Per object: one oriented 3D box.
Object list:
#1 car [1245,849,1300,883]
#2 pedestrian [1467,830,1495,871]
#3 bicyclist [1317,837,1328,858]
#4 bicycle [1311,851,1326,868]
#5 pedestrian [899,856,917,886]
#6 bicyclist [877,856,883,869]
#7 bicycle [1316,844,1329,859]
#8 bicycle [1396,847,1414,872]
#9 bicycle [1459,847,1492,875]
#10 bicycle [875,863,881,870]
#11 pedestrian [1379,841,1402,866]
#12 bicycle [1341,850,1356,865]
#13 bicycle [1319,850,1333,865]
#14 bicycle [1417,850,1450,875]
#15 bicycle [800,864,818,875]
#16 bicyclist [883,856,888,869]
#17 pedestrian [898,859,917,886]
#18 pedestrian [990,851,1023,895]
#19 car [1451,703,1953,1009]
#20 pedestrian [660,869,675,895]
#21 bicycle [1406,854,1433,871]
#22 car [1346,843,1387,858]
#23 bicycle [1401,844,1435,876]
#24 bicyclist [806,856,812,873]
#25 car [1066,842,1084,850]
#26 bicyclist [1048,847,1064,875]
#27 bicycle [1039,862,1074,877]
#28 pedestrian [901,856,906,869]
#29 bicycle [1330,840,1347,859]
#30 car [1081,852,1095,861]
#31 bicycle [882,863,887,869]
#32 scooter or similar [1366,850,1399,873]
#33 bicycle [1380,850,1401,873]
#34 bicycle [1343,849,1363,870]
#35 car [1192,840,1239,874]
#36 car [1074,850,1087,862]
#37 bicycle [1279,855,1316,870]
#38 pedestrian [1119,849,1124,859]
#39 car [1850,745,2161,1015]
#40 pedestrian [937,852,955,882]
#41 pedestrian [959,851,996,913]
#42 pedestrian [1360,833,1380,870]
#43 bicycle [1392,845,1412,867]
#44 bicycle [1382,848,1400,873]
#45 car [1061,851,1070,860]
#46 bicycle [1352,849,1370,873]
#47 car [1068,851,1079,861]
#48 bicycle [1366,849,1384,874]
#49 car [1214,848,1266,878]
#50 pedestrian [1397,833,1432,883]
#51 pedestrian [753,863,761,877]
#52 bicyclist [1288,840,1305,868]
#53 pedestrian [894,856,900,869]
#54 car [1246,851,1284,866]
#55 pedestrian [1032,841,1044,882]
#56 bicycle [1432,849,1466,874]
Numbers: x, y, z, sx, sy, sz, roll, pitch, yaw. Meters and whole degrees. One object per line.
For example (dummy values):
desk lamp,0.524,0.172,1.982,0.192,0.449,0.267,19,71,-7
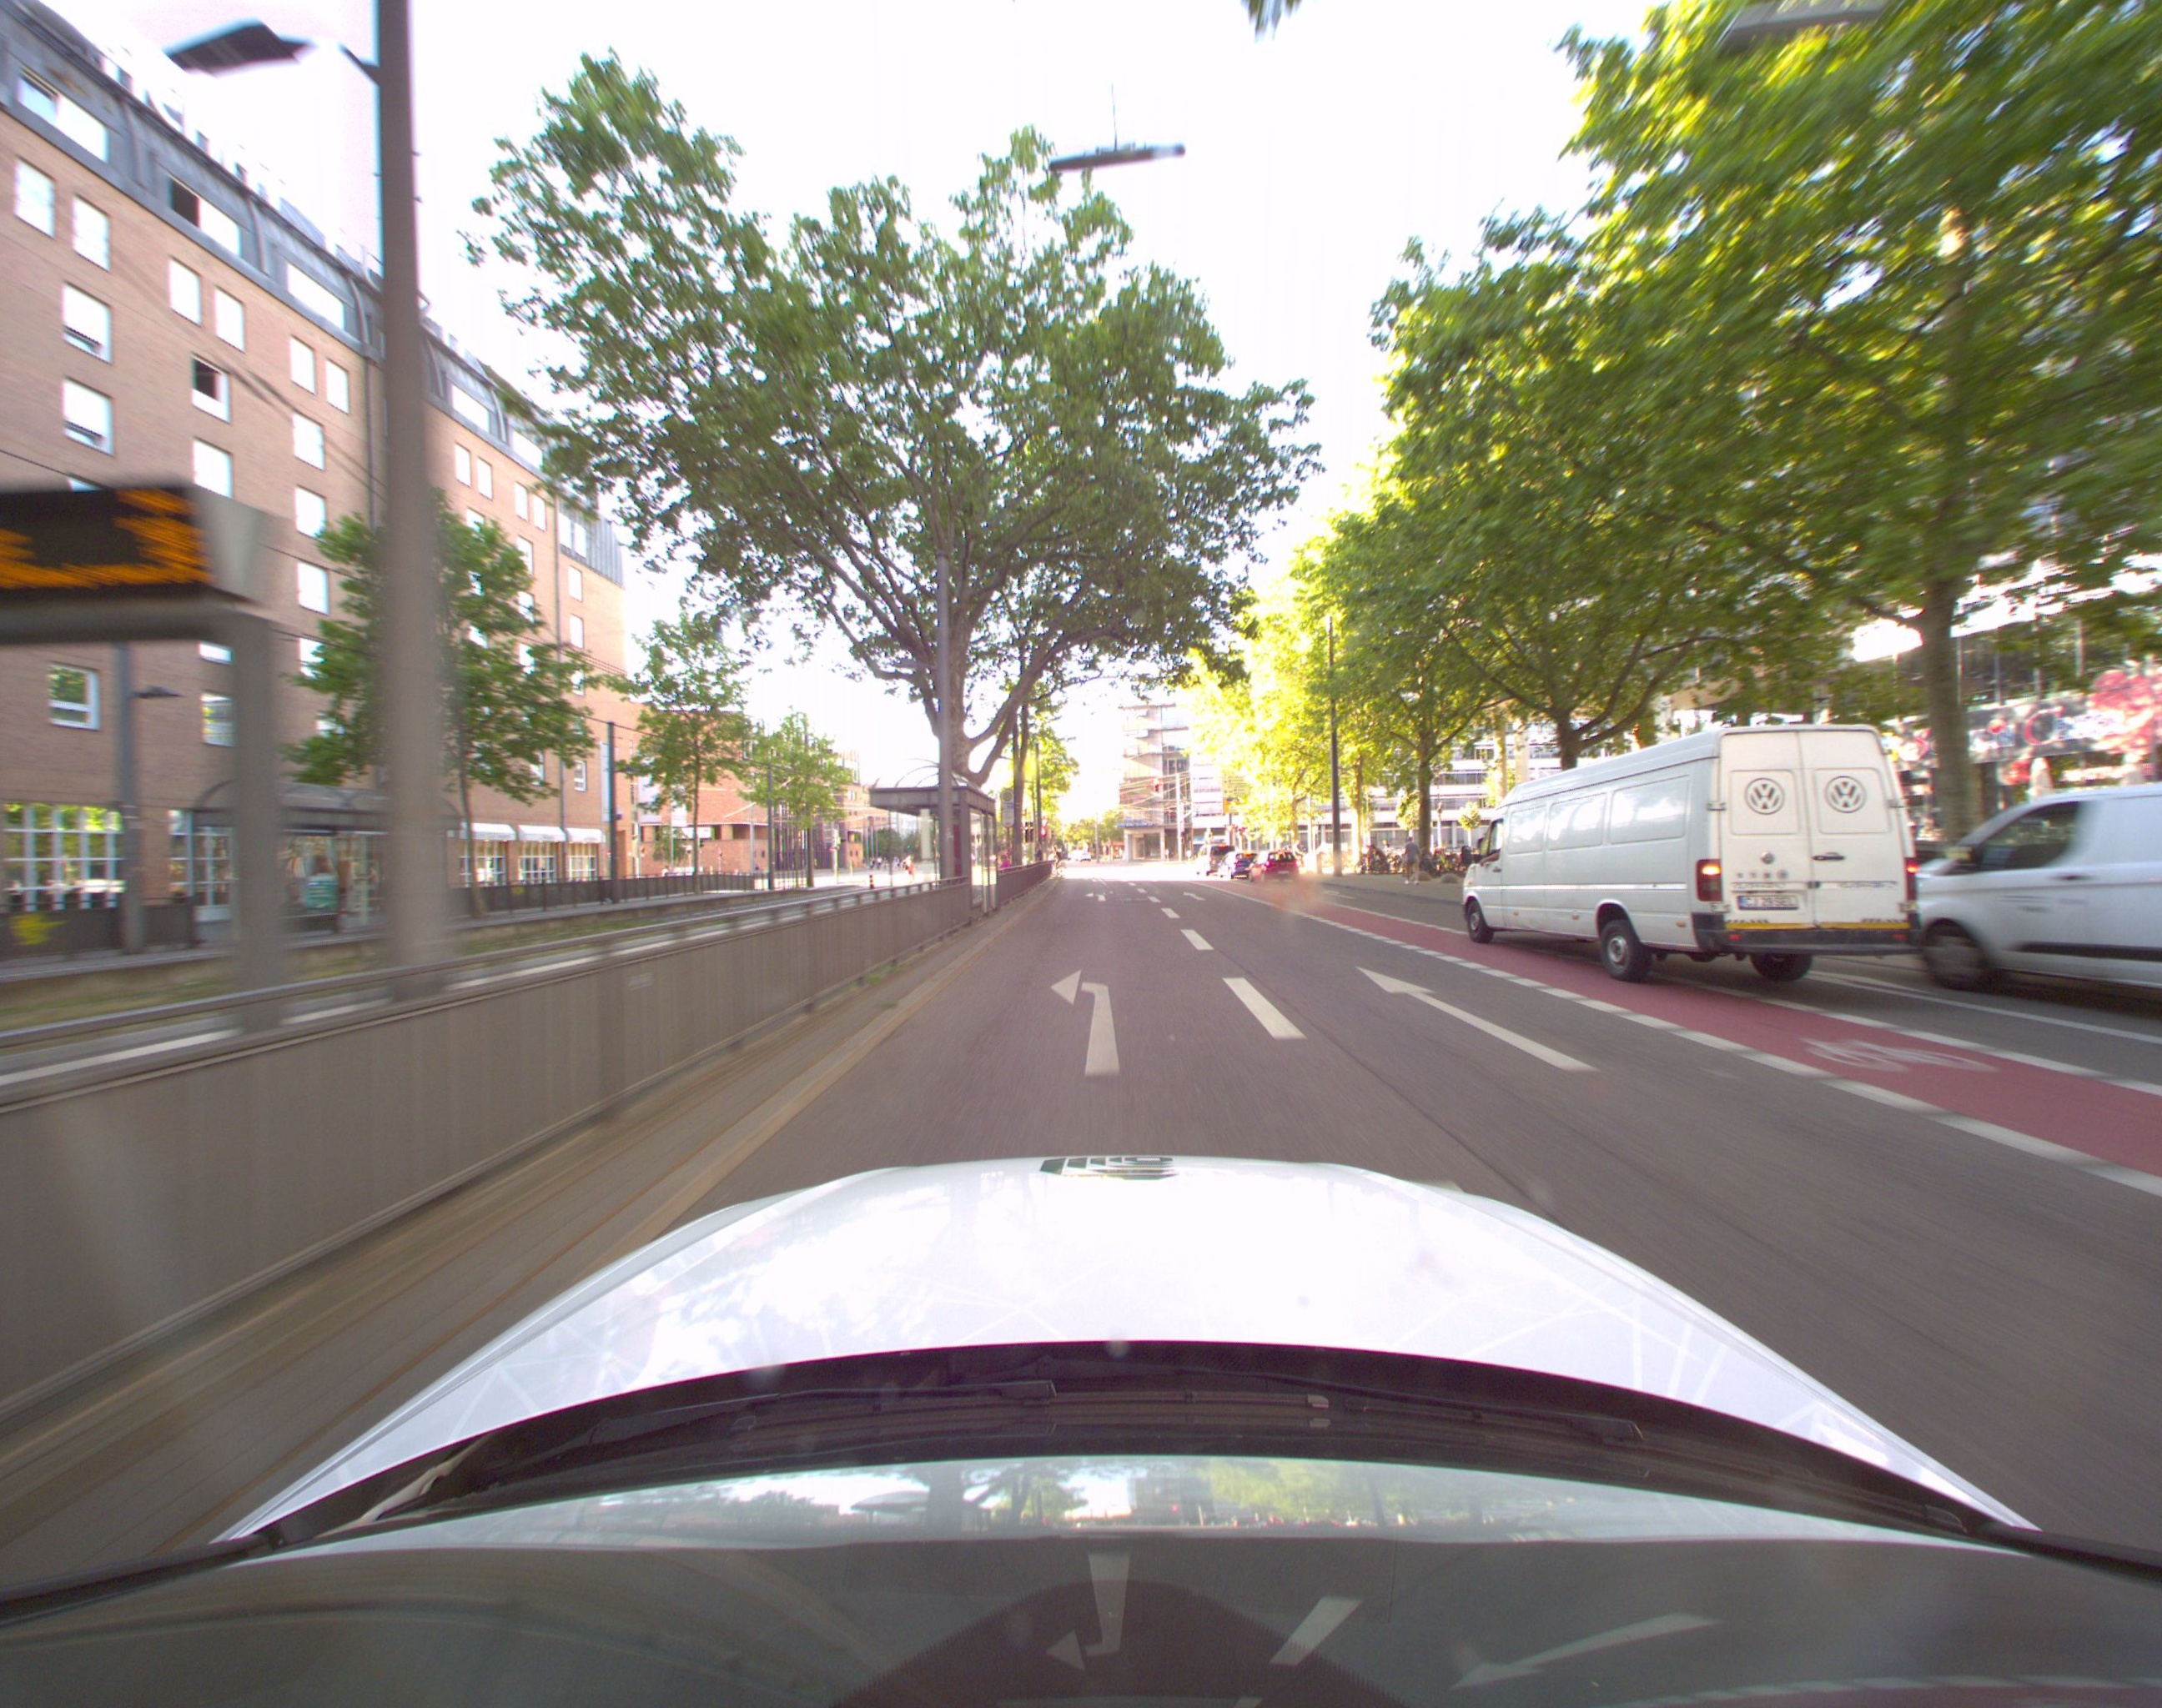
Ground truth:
car,8.731,0.536,37.334,1.554,1.464,3.619,-1,0,-2
pedestrian,17.804,-0.163,36.247,0.815,1.757,0.771,-2,0,0
bicyclist,18.298,-0.487,61.780,0.559,1.616,0.823,-2,0,5
bicycle,16.208,0.390,55.593,0.449,1.144,1.475,-2,0,-3
pedestrian,-10.897,1.075,51.395,1.073,1.871,0.736,-1,-1,-9
bicyclist,-27.906,1.173,113.064,0.593,1.675,0.787,-2,0,-8
bicycle,18.305,-0.191,61.740,0.563,1.126,1.781,-2,0,5
bicycle,15.402,0.253,38.664,0.601,1.116,1.837,-2,0,26
bicycle,16.737,0.274,34.588,0.500,1.137,1.654,-2,0,-2
bicycle,-28.154,1.740,112.927,0.512,0.881,1.833,-2,0,-9
pedestrian,22.873,-0.025,60.184,1.207,1.822,1.039,0,-1,-7
bicycle,18.361,0.241,55.955,0.449,0.982,1.475,-2,0,-3
bicycle,16.875,0.224,56.153,0.449,0.982,1.475,-2,0,-3
bicycle,14.880,0.340,34.434,0.594,1.031,1.654,-2,0,-2
bicycle,-33.893,1.922,101.381,2.108,1.239,0.448,-3,0,-41
bicyclist,-27.173,1.172,113.344,0.593,1.675,0.787,-2,0,-8
pedestrian,-10.773,1.157,50.652,1.072,1.682,0.755,-1,-1,-9
pedestrian,-2.425,0.609,26.595,0.972,1.400,0.665,0,-1,3
car,7.038,0.013,10.580,1.984,2.724,6.571,0,0,5
pedestrian,-25.333,1.714,49.887,0.588,1.584,0.724,1,0,-3
bicycle,15.618,0.404,37.580,1.098,0.760,0.402,-2,0,26
car,33.547,-0.372,95.832,4.222,1.560,1.797,-2,0,4
bicycle,14.213,0.239,34.372,0.594,1.264,1.875,-2,0,-2
bicyclist,-33.889,1.315,101.408,0.565,2.060,0.446,-2,0,-41
car,-1.413,-1.871,188.576,3.735,1.750,1.787,0,-4,13
bicyclist,-1.644,0.480,53.491,0.850,1.785,0.749,-2,0,-13
bicycle,-1.623,1.009,53.546,2.180,0.933,0.665,-2,0,-14
pedestrian,-23.263,1.126,106.938,0.538,1.650,0.621,-2,0,-21
bicycle,17.711,-0.286,56.008,0.449,1.286,1.885,-2,0,-3
car,1.108,0.336,131.516,1.988,1.332,3.997,-2,0,-2
bicycle,-27.285,1.688,113.275,0.512,0.881,1.833,-2,0,-9
scooter or similar,15.153,0.381,40.926,1.255,1.142,0.911,2,-2,-15
bicycle,16.549,0.401,43.556,0.419,1.159,1.475,-2,0,-3
bicycle,14.478,0.299,43.328,0.625,1.057,1.574,-2,0,4
car,8.294,0.169,50.591,1.988,1.966,5.134,0,0,-1
car,-0.057,0.349,138.306,1.988,1.991,3.997,-2,0,-2
bicycle,13.996,0.545,52.606,2.156,0.933,0.672,-2,0,33
pedestrian,6.218,0.019,125.868,0.738,1.465,0.536,-2,0,-4
car,9.616,0.171,6.508,2.114,2.134,5.294,-2,0,3
pedestrian,-8.623,0.849,52.004,1.145,1.893,0.830,-1,-1,-9
pedestrian,-2.353,0.629,18.561,0.731,1.387,0.641,0,-1,3
pedestrian,13.988,-0.125,39.441,0.799,1.786,0.661,-2,0,24
bicycle,17.238,0.108,43.722,0.419,1.159,1.476,-2,0,-1
bicycle,14.812,0.284,38.920,0.590,1.116,1.837,-2,0,26
car,-3.358,0.309,175.192,1.988,1.662,3.997,-2,0,-2
bicycle,13.729,0.335,39.936,0.590,1.116,1.837,-2,0,26
car,-1.375,0.339,153.332,1.988,1.662,3.997,-2,0,-2
bicycle,14.165,0.337,39.224,0.590,1.116,1.961,-2,0,26
car,8.518,0.447,43.985,1.761,1.464,4.213,-2,0,-3
pedestrian,12.217,0.144,29.864,0.869,1.786,0.808,-2,0,-1
pedestrian,-37.849,1.891,95.122,0.538,1.613,0.574,-2,0,29
bicyclist,13.922,0.029,52.634,0.841,1.767,0.757,-2,0,34
pedestrian,-24.081,1.134,106.599,0.538,1.650,0.621,-2,0,-21
car,21.805,0.474,96.649,4.221,1.602,1.798,-2,0,5
pedestrian,-1.968,0.346,37.506,0.508,1.900,0.759,0,-1,-1
bicycle,15.560,0.314,34.467,0.594,1.031,1.654,-2,0,-2
